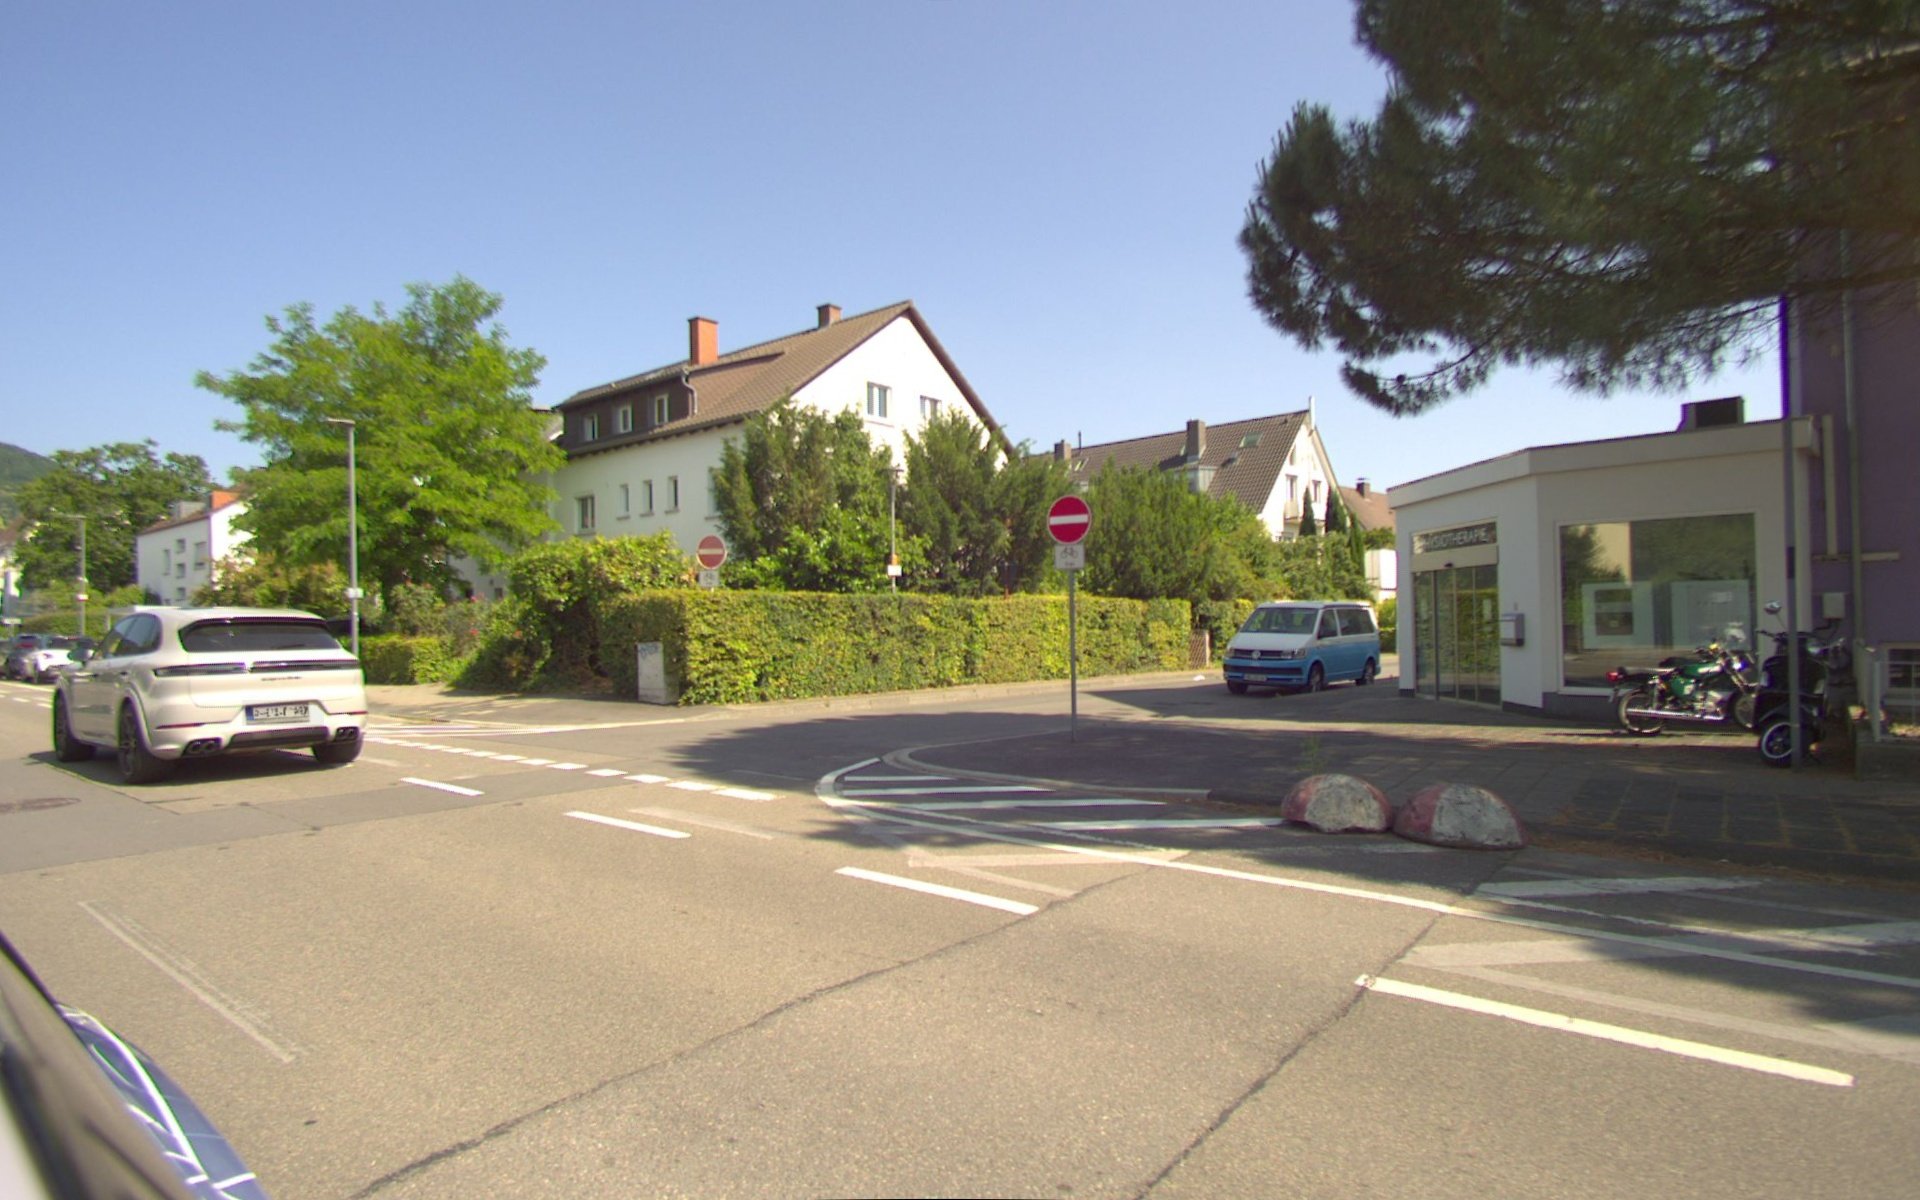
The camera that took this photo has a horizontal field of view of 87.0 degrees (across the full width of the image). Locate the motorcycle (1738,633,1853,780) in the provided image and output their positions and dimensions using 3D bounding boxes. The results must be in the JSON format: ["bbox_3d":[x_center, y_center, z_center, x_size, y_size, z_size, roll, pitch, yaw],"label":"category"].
[{"bbox_3d":[7.598,0.901,9.175,0.643,1.191,1.818,-2,-2,44],"label":"motorcycle"}]

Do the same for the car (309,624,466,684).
[{"bbox_3d":[-18.244,1.673,32.385,1.998,1.773,3.947,-3,-2,39],"label":"car"}]

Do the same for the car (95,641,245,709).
[{"bbox_3d":[-18.506,1.752,23.666,3.993,1.451,1.769,-4,-5,37],"label":"car"}]

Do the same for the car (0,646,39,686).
[{"bbox_3d":[-36.596,2.468,38.290,4.147,1.451,1.769,-2,-4,37],"label":"car"}]

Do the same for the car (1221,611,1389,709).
[{"bbox_3d":[7.585,1.229,22.001,1.909,1.903,4.466,-2,-2,41],"label":"car"}]

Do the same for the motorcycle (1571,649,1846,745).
[{"bbox_3d":[8.269,1.085,11.295,2.335,0.998,0.639,-2,-2,16],"label":"motorcycle"}]

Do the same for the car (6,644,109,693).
[{"bbox_3d":[-28.192,2.114,31.588,3.996,1.451,1.767,-2,-5,40],"label":"car"}]

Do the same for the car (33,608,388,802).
[{"bbox_3d":[-8.241,0.994,10.983,4.599,1.670,1.974,-2,-2,38],"label":"car"}]

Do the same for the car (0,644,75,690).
[{"bbox_3d":[-31.640,2.244,34.364,4.107,1.451,1.767,-2,-4,40],"label":"car"}]
